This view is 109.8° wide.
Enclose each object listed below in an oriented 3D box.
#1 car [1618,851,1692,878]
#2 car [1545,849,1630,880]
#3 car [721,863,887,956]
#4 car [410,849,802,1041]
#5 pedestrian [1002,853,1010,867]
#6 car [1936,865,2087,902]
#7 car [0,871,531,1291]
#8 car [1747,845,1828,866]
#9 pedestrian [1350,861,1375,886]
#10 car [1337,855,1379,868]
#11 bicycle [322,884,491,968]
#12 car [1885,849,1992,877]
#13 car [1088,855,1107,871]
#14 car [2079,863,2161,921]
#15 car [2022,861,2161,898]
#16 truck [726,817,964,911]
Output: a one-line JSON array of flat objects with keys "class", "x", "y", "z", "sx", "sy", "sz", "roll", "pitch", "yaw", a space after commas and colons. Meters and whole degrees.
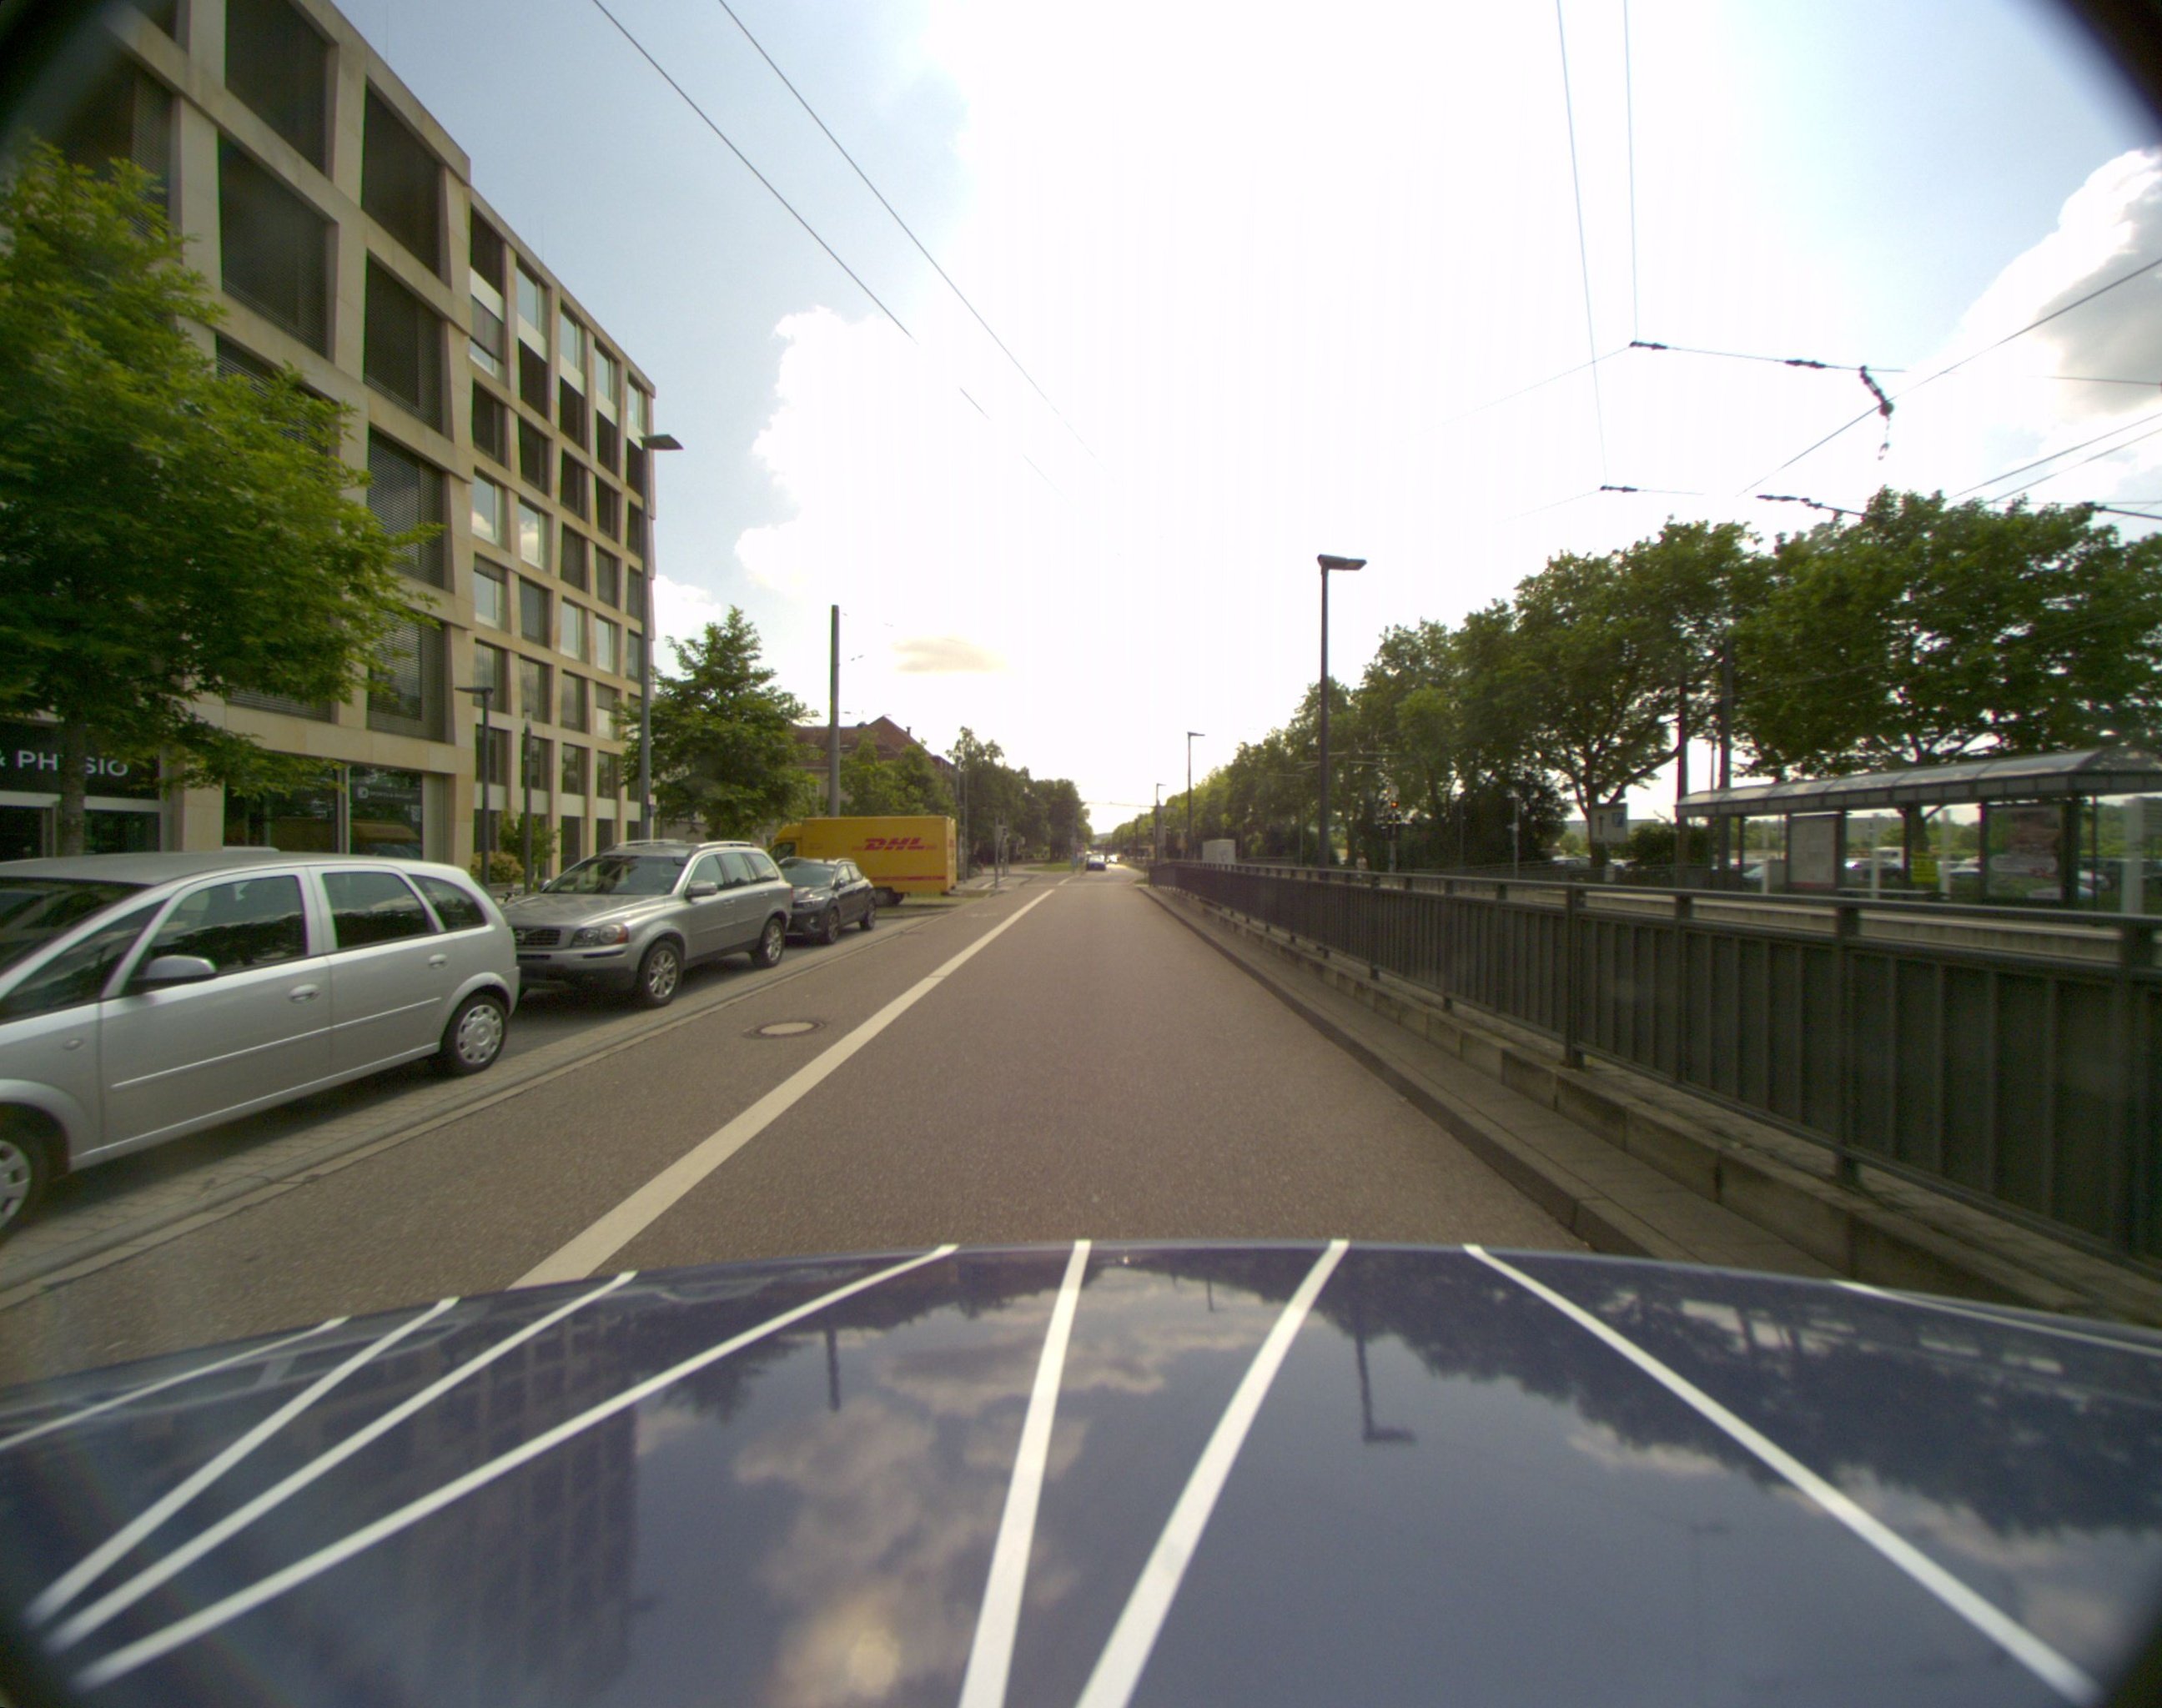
[{"class": "car", "x": 43.629, "y": 0.803, "z": 57.824, "sx": 4.108, "sy": 1.888, "sz": 1.999, "roll": 2, "pitch": 1, "yaw": -2}, {"class": "car", "x": 32.728, "y": 0.650, "z": 49.184, "sx": 4.107, "sy": 1.821, "sz": 2.000, "roll": 2, "pitch": 1, "yaw": 2}, {"class": "car", "x": -5.161, "y": 0.959, "z": 14.751, "sx": 1.695, "sy": 1.496, "sz": 4.068, "roll": 0, "pitch": 0, "yaw": 0}, {"class": "car", "x": -5.239, "y": 0.834, "z": 9.389, "sx": 1.773, "sy": 1.757, "sz": 4.840, "roll": 0, "pitch": 0, "yaw": 0}, {"class": "pedestrian", "x": -9.057, "y": 0.747, "z": 91.613, "sx": 0.623, "sy": 1.598, "sz": 0.625, "roll": 2, "pitch": 1, "yaw": 21}, {"class": "car", "x": 41.322, "y": 1.282, "z": 33.896, "sx": 1.802, "sy": 1.467, "sz": 4.000, "roll": 1, "pitch": 0, "yaw": 0}, {"class": "car", "x": -5.180, "y": 0.942, "z": 4.008, "sx": 1.725, "sy": 1.610, "sz": 3.860, "roll": 0, "pitch": 0, "yaw": 0}, {"class": "car", "x": 50.300, "y": 0.096, "z": 54.160, "sx": 3.995, "sy": 1.477, "sz": 1.717, "roll": 0, "pitch": 1, "yaw": 5}, {"class": "pedestrian", "x": 15.221, "y": 1.062, "z": 41.106, "sx": 0.866, "sy": 1.336, "sz": 0.920, "roll": 1, "pitch": 1, "yaw": -33}, {"class": "car", "x": 31.348, "y": 0.884, "z": 86.029, "sx": 3.997, "sy": 1.433, "sz": 2.000, "roll": 0, "pitch": 0, "yaw": 1}, {"class": "bicycle", "x": -9.287, "y": 0.982, "z": 10.487, "sx": 1.846, "sy": 0.988, "sz": 0.439, "roll": -4, "pitch": 1, "yaw": -1}, {"class": "car", "x": 48.546, "y": 0.495, "z": 43.068, "sx": 3.996, "sy": 1.419, "sz": 1.778, "roll": -2, "pitch": 0, "yaw": 2}, {"class": "car", "x": 1.660, "y": 0.910, "z": 79.245, "sx": 1.784, "sy": 1.531, "sz": 4.420, "roll": 1, "pitch": 0, "yaw": -1}, {"class": "car", "x": 29.642, "y": 1.028, "z": 20.141, "sx": 1.694, "sy": 1.525, "sz": 3.654, "roll": 1, "pitch": 0, "yaw": 4}, {"class": "car", "x": 44.405, "y": 1.064, "z": 33.134, "sx": 1.802, "sy": 1.467, "sz": 4.000, "roll": 1, "pitch": 0, "yaw": 0}, {"class": "truck", "x": -7.348, "y": 0.308, "z": 24.327, "sx": 6.824, "sy": 2.851, "sz": 2.454, "roll": 0, "pitch": 1, "yaw": -2}]
